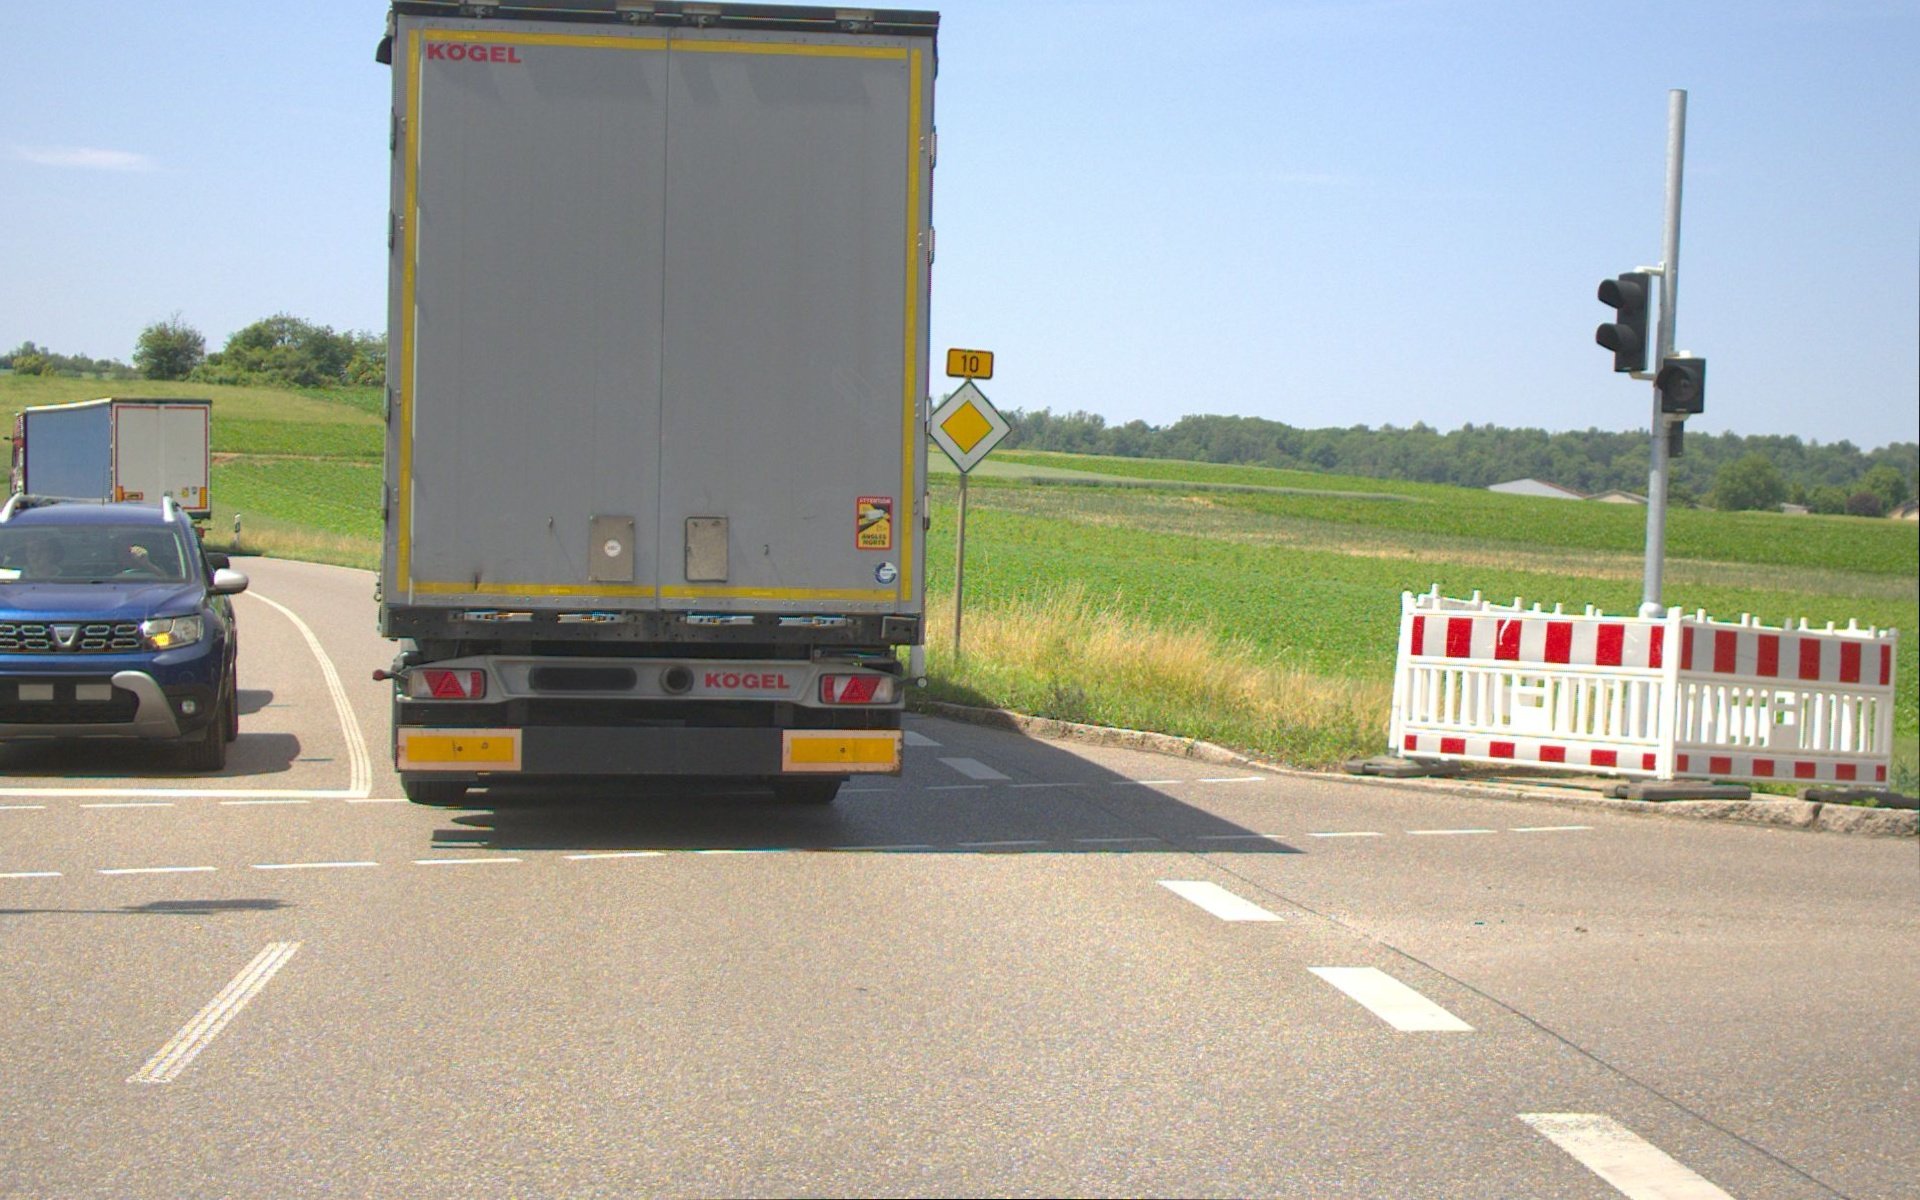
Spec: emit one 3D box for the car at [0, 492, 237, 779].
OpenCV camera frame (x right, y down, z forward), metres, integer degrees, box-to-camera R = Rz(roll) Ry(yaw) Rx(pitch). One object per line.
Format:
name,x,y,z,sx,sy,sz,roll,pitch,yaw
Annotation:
car,-5.518,0.172,21.762,1.770,1.653,4.001,0,1,-11

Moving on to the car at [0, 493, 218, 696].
car,-7.583,-0.079,30.191,1.770,1.653,4.001,1,1,-8

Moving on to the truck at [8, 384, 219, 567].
truck,-23.517,-3.345,94.641,2.960,4.568,16.320,1,1,-23

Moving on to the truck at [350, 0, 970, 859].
truck,-1.979,-0.869,20.630,2.807,3.932,9.593,1,1,-7
